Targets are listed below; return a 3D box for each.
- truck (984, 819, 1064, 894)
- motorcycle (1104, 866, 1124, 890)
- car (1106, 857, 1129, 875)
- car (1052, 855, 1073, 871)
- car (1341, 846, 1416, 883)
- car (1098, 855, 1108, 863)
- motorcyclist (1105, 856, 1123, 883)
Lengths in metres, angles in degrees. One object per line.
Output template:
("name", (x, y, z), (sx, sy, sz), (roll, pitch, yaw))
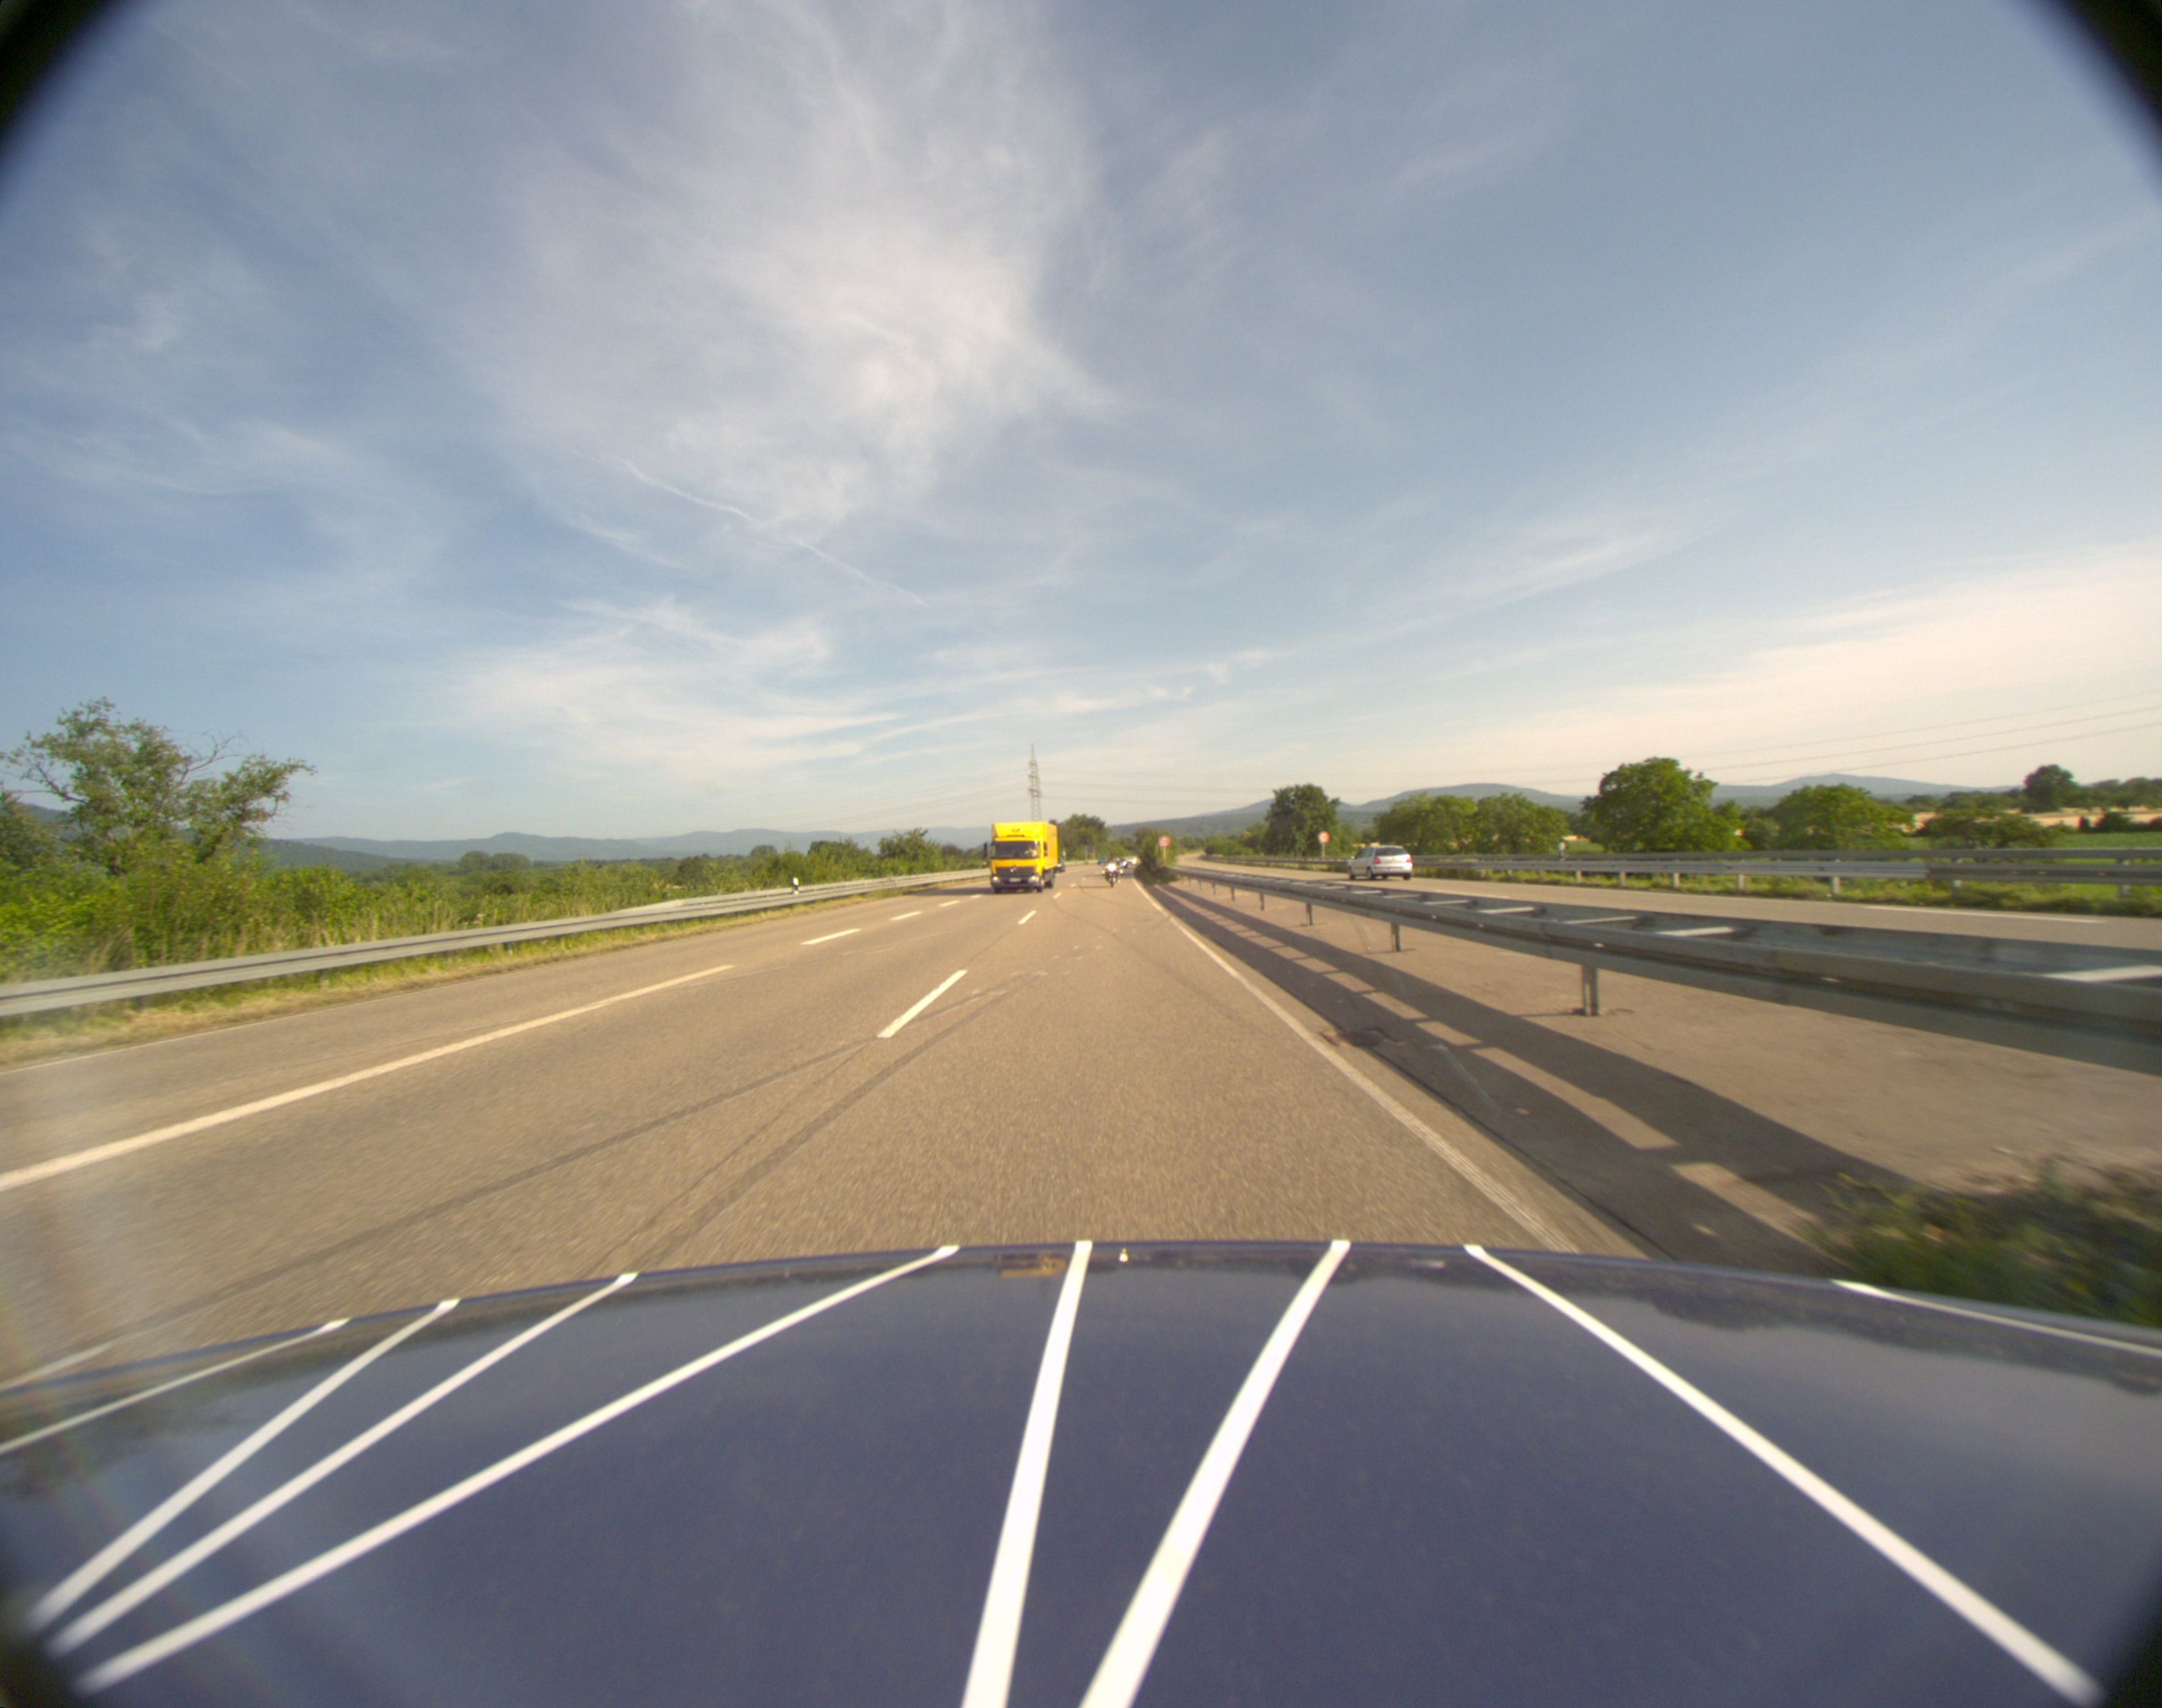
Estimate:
("truck", (-2.688, 0.143, 39.516), (2.785, 3.297, 10.491), (-2, 0, 3))
("motorcycle", (1.713, 1.241, 39.763), (0.937, 1.131, 2.582), (-1, 1, 2))
("car", (3.291, 1.060, 67.528), (1.869, 1.454, 4.085), (-2, 0, 4))
("car", (-2.082, 1.001, 86.245), (1.877, 1.630, 4.001), (-1, 0, 6))
("car", (12.430, 0.415, 32.008), (1.644, 1.412, 4.000), (-3, 0, 2))
("car", (4.150, 0.937, 144.765), (1.676, 1.541, 3.827), (-2, 1, 4))
("motorcyclist", (1.718, 0.823, 39.828), (0.937, 1.344, 1.142), (-1, 1, 2))
